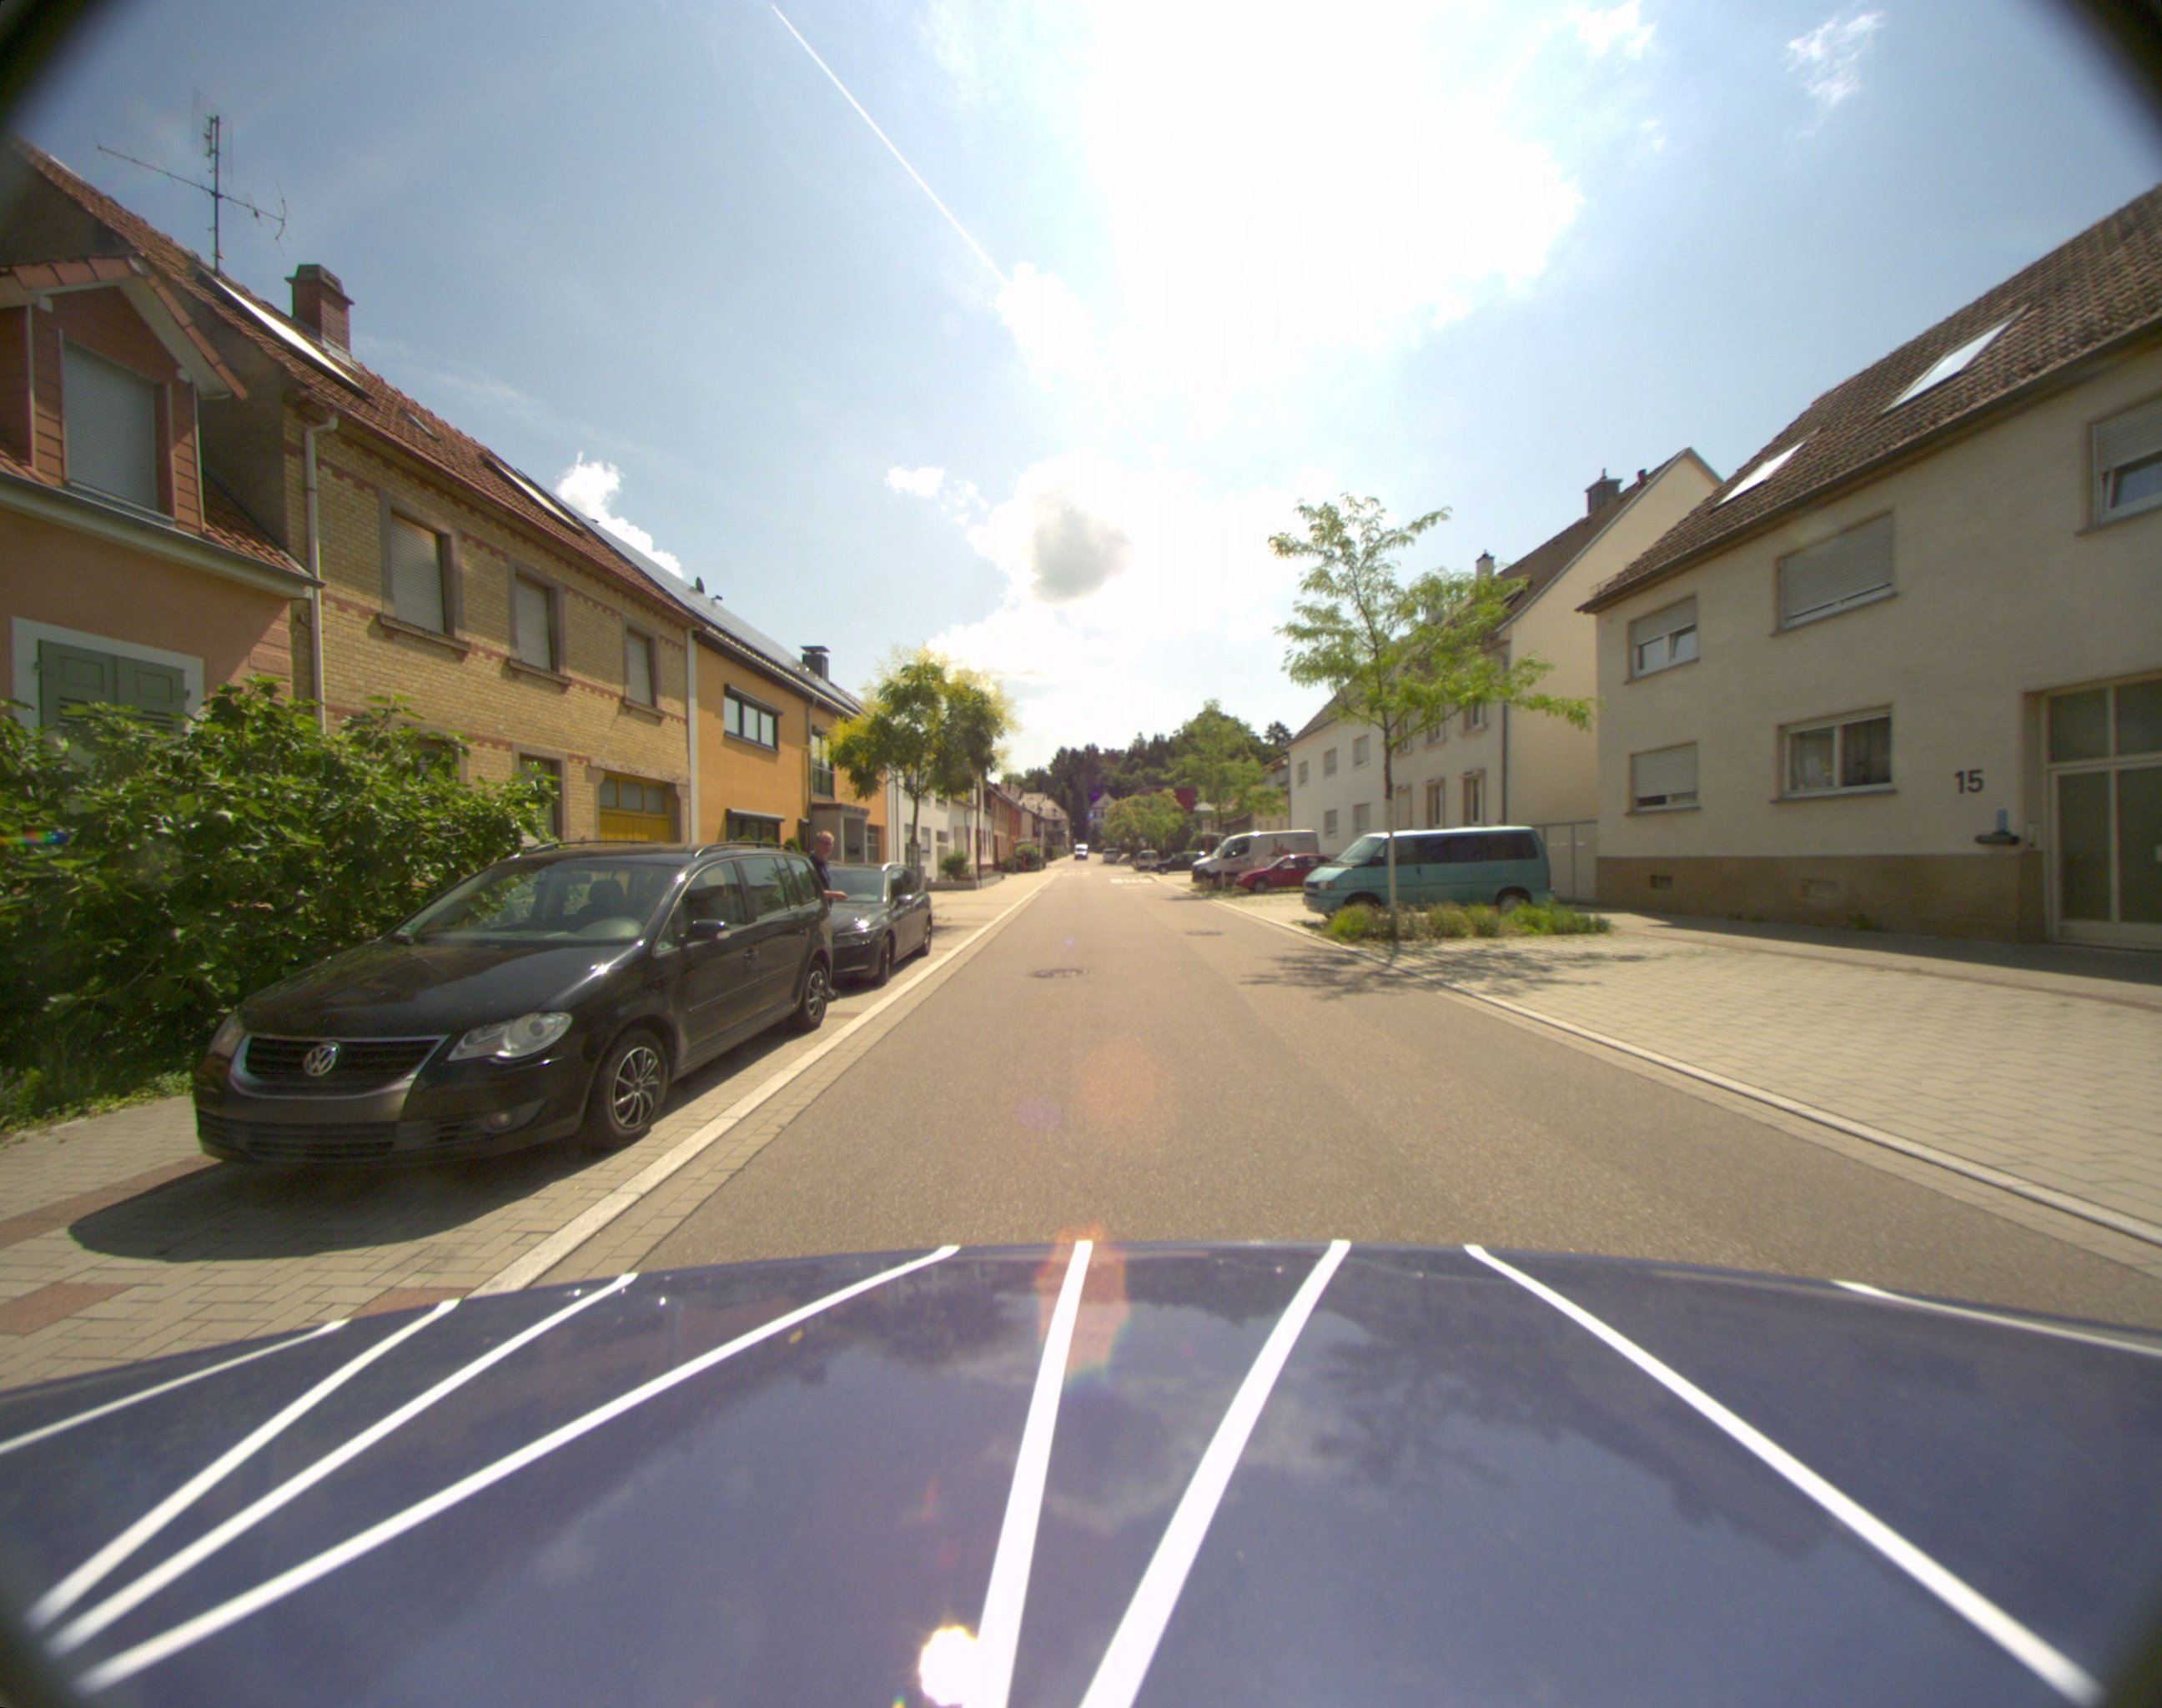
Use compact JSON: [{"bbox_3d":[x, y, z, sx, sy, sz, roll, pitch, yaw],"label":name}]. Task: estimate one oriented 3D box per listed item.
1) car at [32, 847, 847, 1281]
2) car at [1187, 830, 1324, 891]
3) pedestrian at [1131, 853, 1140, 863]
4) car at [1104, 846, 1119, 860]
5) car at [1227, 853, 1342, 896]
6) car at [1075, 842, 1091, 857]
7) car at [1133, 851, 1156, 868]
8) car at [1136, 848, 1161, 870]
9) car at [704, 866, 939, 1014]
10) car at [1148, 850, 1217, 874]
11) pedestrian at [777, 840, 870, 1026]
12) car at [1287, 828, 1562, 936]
[{"bbox_3d":[-3.198,0.825,5.161,1.771,1.695,4.325,-1,0,1],"label":"car"},{"bbox_3d":[7.237,0.246,31.915,5.180,2.275,2.157,-2,1,-1],"label":"car"},{"bbox_3d":[6.054,0.451,84.142,0.816,1.135,0.885,-2,1,-3],"label":"pedestrian"},{"bbox_3d":[4.447,-0.194,109.922,1.999,1.968,3.999,-1,1,0],"label":"car"},{"bbox_3d":[7.473,0.721,28.193,3.792,1.377,1.725,-2,1,1],"label":"car"},{"bbox_3d":[0.360,-0.738,124.629,2.489,2.306,5.599,-2,1,0],"label":"car"},{"bbox_3d":[5.993,0.504,71.559,1.727,1.515,3.909,-2,-1,-1],"label":"car"},{"bbox_3d":[5.794,0.436,65.615,1.844,1.737,4.687,-2,-1,2],"label":"car"},{"bbox_3d":[-3.200,0.961,10.361,1.771,1.480,4.295,-1,0,-1],"label":"car"},{"bbox_3d":[7.149,0.569,53.664,4.598,1.508,1.901,-2,0,0],"label":"car"},{"bbox_3d":[-2.643,0.792,7.847,0.718,1.842,0.578,-1,1,1],"label":"pedestrian"},{"bbox_3d":[6.857,0.527,15.582,4.688,1.896,2.000,-2,1,1],"label":"car"}]
